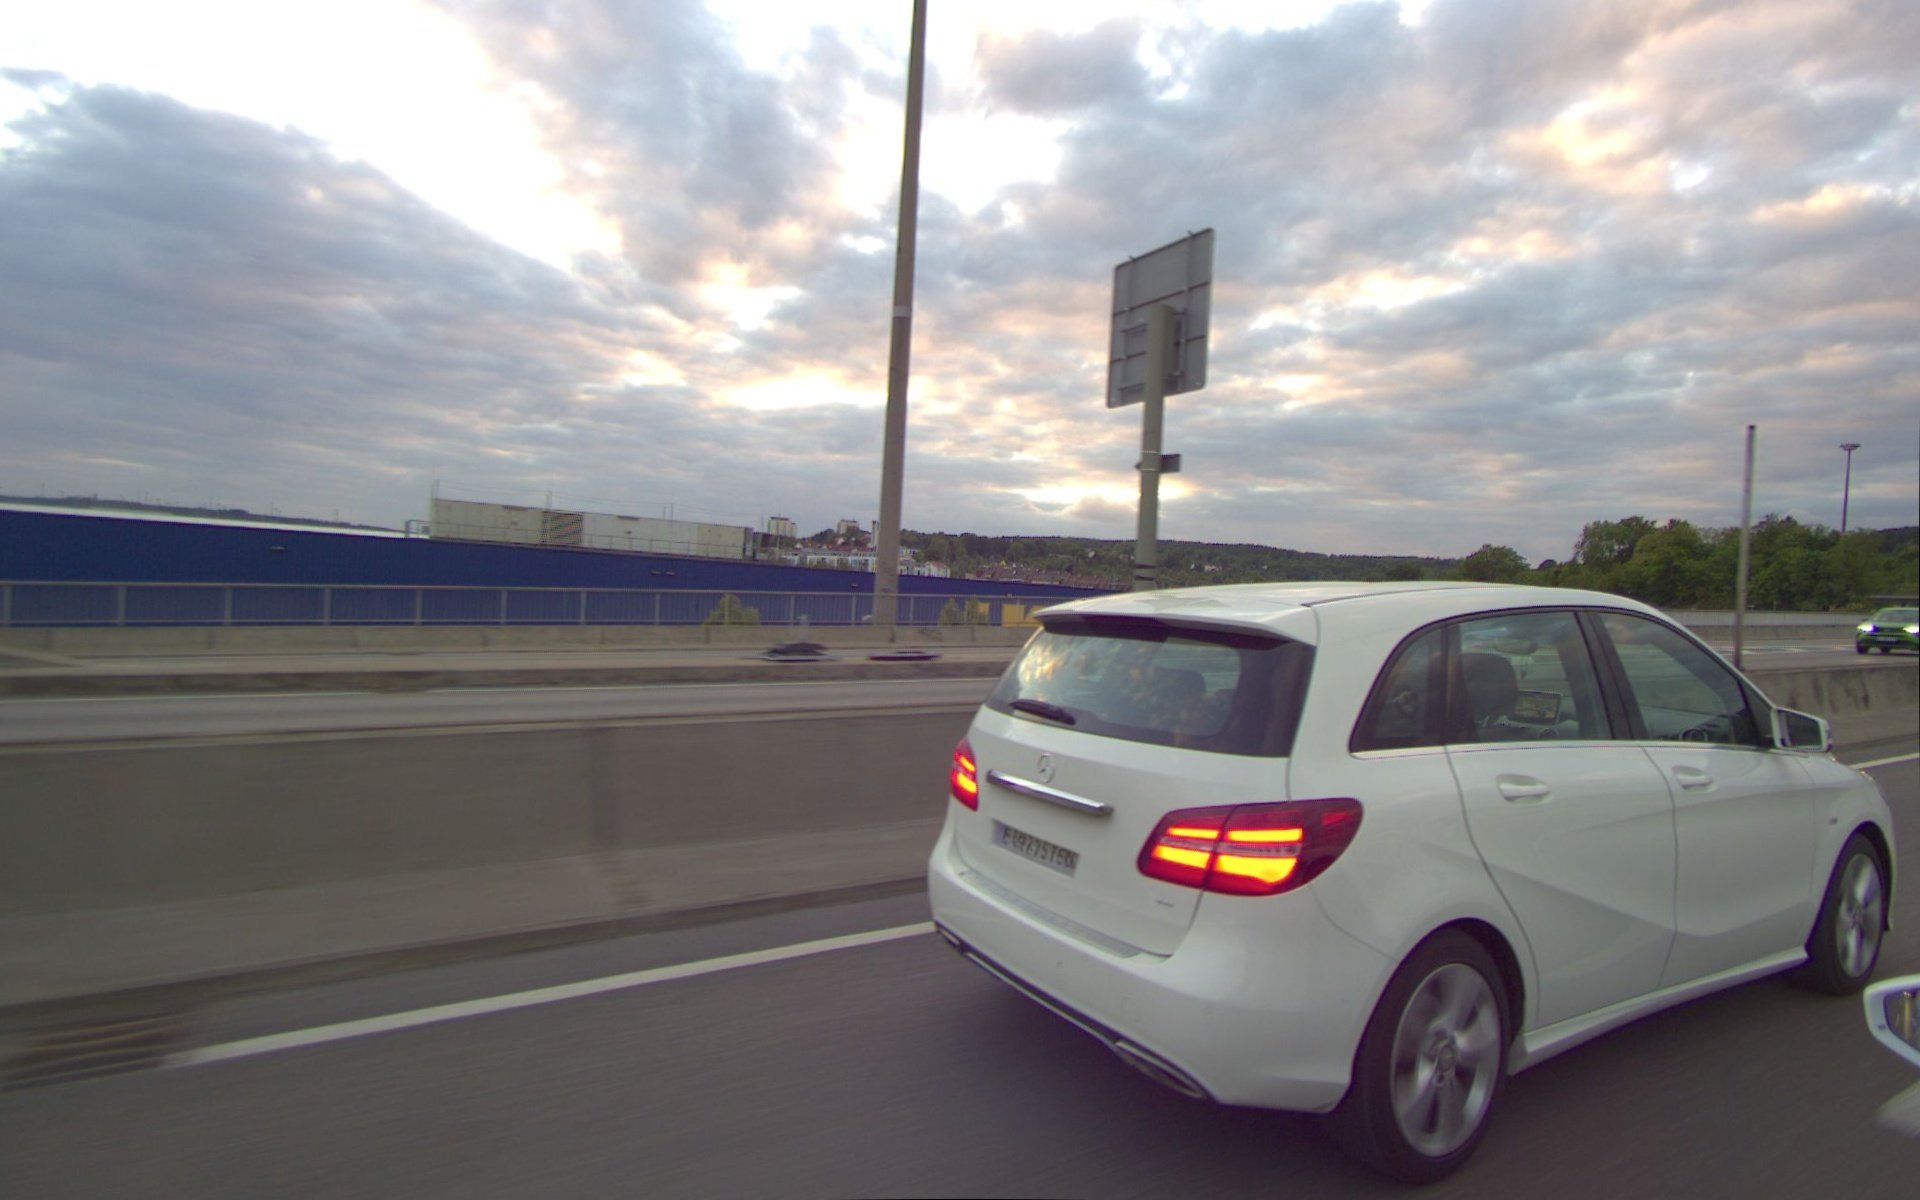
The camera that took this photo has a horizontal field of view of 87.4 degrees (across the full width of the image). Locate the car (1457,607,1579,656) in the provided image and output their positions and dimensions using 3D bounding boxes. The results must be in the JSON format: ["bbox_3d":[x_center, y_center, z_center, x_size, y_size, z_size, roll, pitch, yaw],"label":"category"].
[{"bbox_3d":[19.843,1.107,35.701,4.112,1.617,1.889,1,0,-29],"label":"car"}]

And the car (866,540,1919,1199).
[{"bbox_3d":[2.133,0.729,4.014,4.728,1.557,1.682,2,-1,-31],"label":"car"}]

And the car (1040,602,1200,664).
[{"bbox_3d":[4.157,0.852,26.102,3.794,1.506,1.789,2,0,-28],"label":"car"}]

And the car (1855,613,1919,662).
[{"bbox_3d":[31.243,1.252,32.916,4.033,1.514,1.703,2,-3,-30],"label":"car"}]
